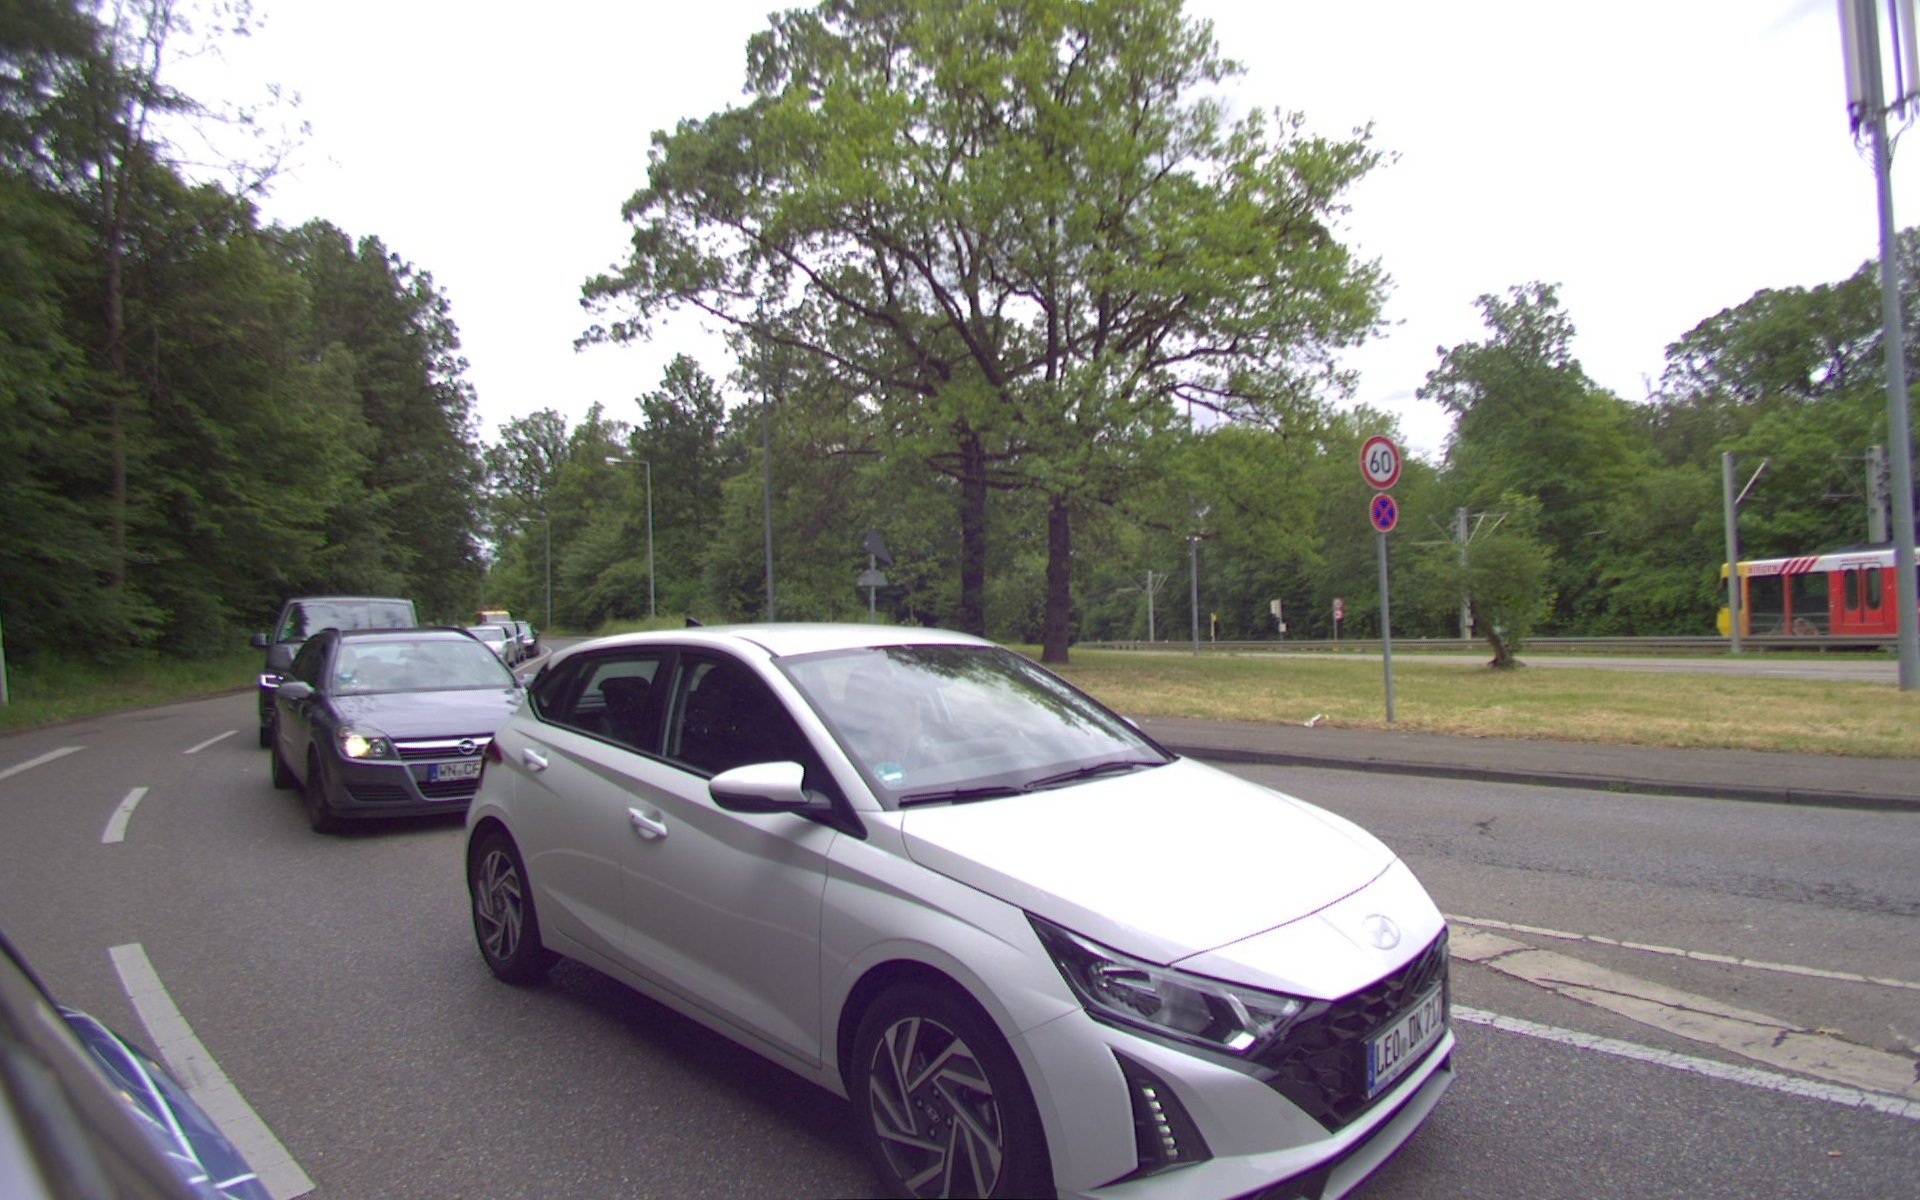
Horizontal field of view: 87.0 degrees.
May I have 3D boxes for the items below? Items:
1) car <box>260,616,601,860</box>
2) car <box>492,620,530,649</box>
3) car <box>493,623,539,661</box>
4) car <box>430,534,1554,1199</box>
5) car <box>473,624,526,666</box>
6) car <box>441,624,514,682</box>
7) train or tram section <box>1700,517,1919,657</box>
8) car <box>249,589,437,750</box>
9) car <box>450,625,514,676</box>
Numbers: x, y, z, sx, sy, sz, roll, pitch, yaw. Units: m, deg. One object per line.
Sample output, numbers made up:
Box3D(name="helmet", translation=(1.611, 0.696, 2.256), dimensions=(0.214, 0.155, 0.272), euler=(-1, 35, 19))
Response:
Box3D(name="car", translation=(-4.696, 0.925, 8.585), dimensions=(1.775, 1.490, 4.479), euler=(0, -2, -38))
Box3D(name="car", translation=(-25.190, 1.927, 56.880), dimensions=(1.749, 1.511, 3.885), euler=(0, -2, -21))
Box3D(name="car", translation=(-19.153, 1.786, 43.612), dimensions=(1.748, 1.511, 3.885), euler=(0, -2, -24))
Box3D(name="car", translation=(-0.349, 0.696, 3.708), dimensions=(4.074, 1.490, 1.631), euler=(-2, -2, 44))
Box3D(name="car", translation=(-17.629, 1.687, 38.789), dimensions=(1.748, 1.511, 3.885), euler=(0, -2, -24))
Box3D(name="car", translation=(-13.641, 1.450, 28.759), dimensions=(1.748, 1.511, 3.885), euler=(0, -2, -24))
Box3D(name="train or tram section", translation=(32.164, -0.413, 30.996), dimensions=(2.918, 4.451, 18.765), euler=(0, 0, -9))
Box3D(name="car", translation=(-8.557, 0.877, 14.348), dimensions=(1.957, 1.887, 4.546), euler=(0, -2, -28))
Box3D(name="car", translation=(-15.403, 1.593, 32.728), dimensions=(1.748, 1.511, 3.885), euler=(0, -2, -24))
